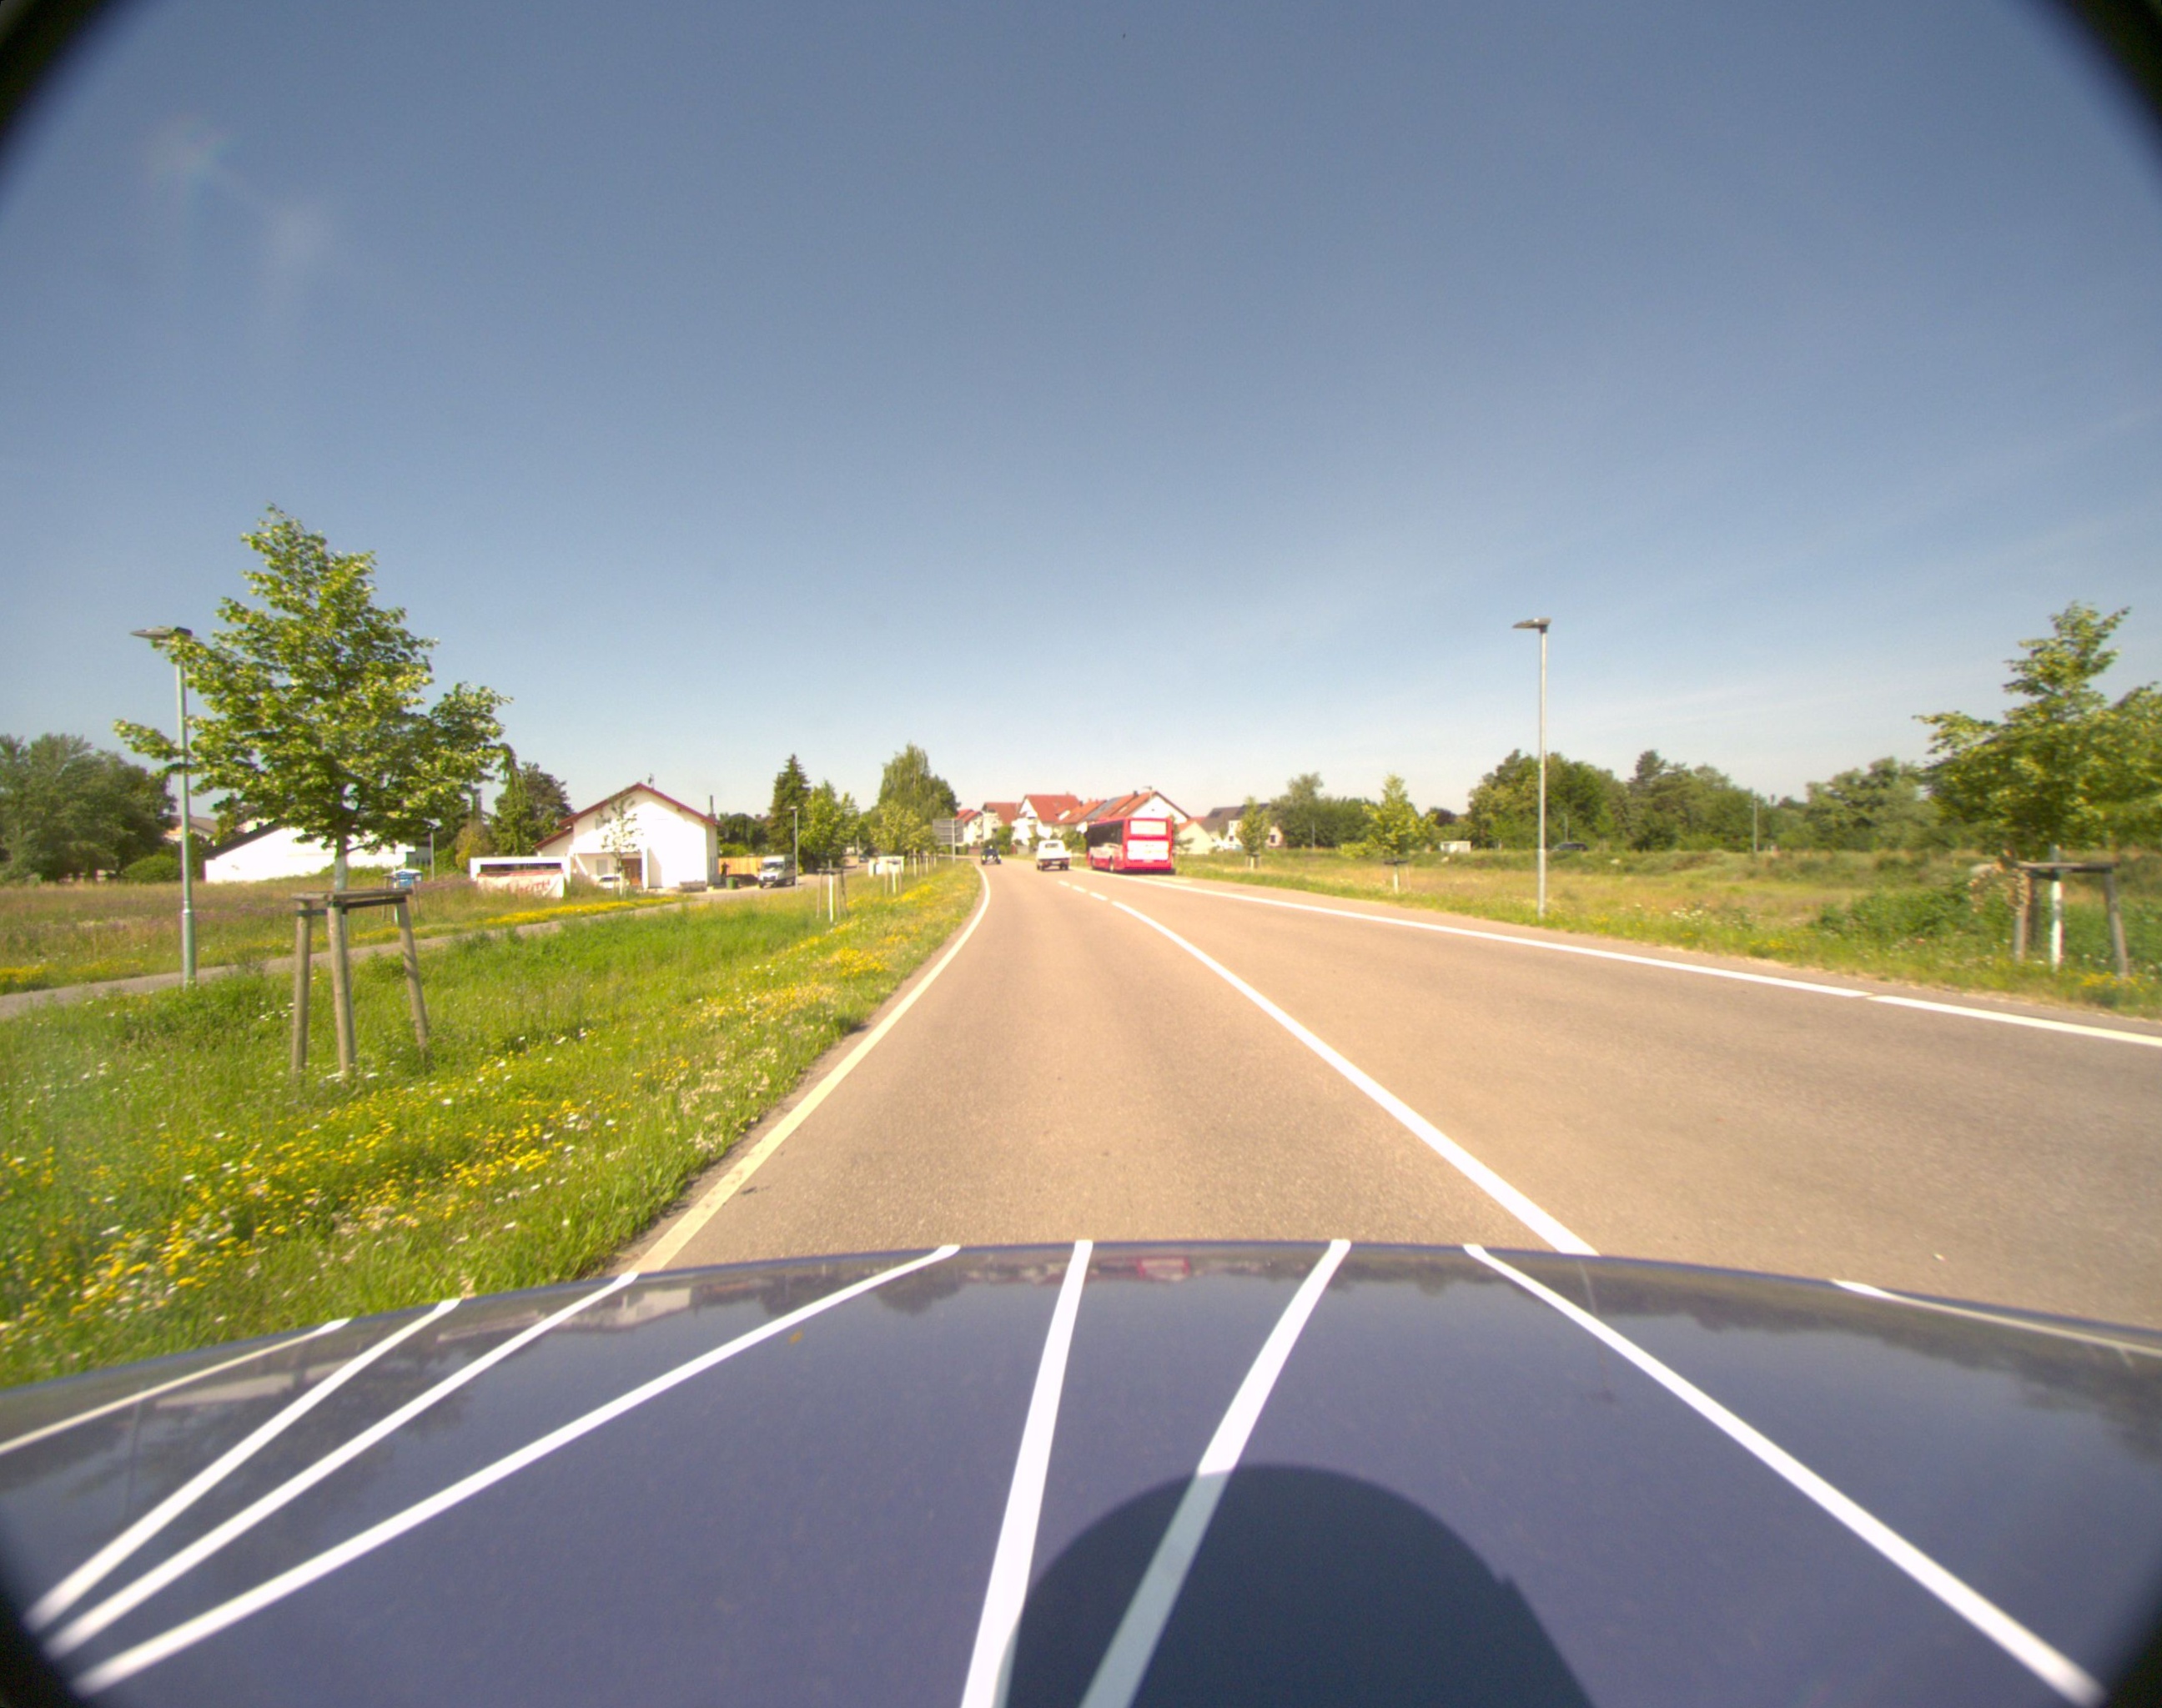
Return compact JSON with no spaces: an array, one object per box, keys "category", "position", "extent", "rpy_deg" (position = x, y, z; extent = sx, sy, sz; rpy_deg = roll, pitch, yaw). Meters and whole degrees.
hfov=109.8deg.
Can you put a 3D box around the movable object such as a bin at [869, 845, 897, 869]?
[{"category":"movable object such as a bin","position":[-22.496,0.290,86.545],"extent":[2.323,2.449,6.938],"rpy_deg":[-3,2,-9]}]

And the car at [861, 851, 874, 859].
[{"category":"car","position":[-39.522,0.154,140.800],"extent":[1.865,1.437,4.163],"rpy_deg":[-4,2,-12]}]

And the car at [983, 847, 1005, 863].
[{"category":"car","position":[-8.828,0.099,76.968],"extent":[1.935,1.552,3.996],"rpy_deg":[-1,0,-11]}]

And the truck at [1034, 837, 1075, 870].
[{"category":"truck","position":[-1.855,-0.064,50.362],"extent":[1.958,1.973,5.639],"rpy_deg":[-3,1,-9]}]

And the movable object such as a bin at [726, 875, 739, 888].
[{"category":"movable object such as a bin","position":[-26.945,2.118,58.816],"extent":[0.694,0.932,0.638],"rpy_deg":[-2,1,-4]}]

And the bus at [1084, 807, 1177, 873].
[{"category":"bus","position":[2.524,-0.723,44.064],"extent":[2.803,3.268,12.218],"rpy_deg":[1,0,-8]}]

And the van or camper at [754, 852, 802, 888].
[{"category":"van or camper","position":[-24.729,1.214,62.257],"extent":[2.179,2.586,6.024],"rpy_deg":[-3,2,-8]}]

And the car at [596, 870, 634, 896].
[{"category":"car","position":[-33.156,2.035,54.198],"extent":[1.565,1.549,4.478],"rpy_deg":[-4,2,-23]}]
